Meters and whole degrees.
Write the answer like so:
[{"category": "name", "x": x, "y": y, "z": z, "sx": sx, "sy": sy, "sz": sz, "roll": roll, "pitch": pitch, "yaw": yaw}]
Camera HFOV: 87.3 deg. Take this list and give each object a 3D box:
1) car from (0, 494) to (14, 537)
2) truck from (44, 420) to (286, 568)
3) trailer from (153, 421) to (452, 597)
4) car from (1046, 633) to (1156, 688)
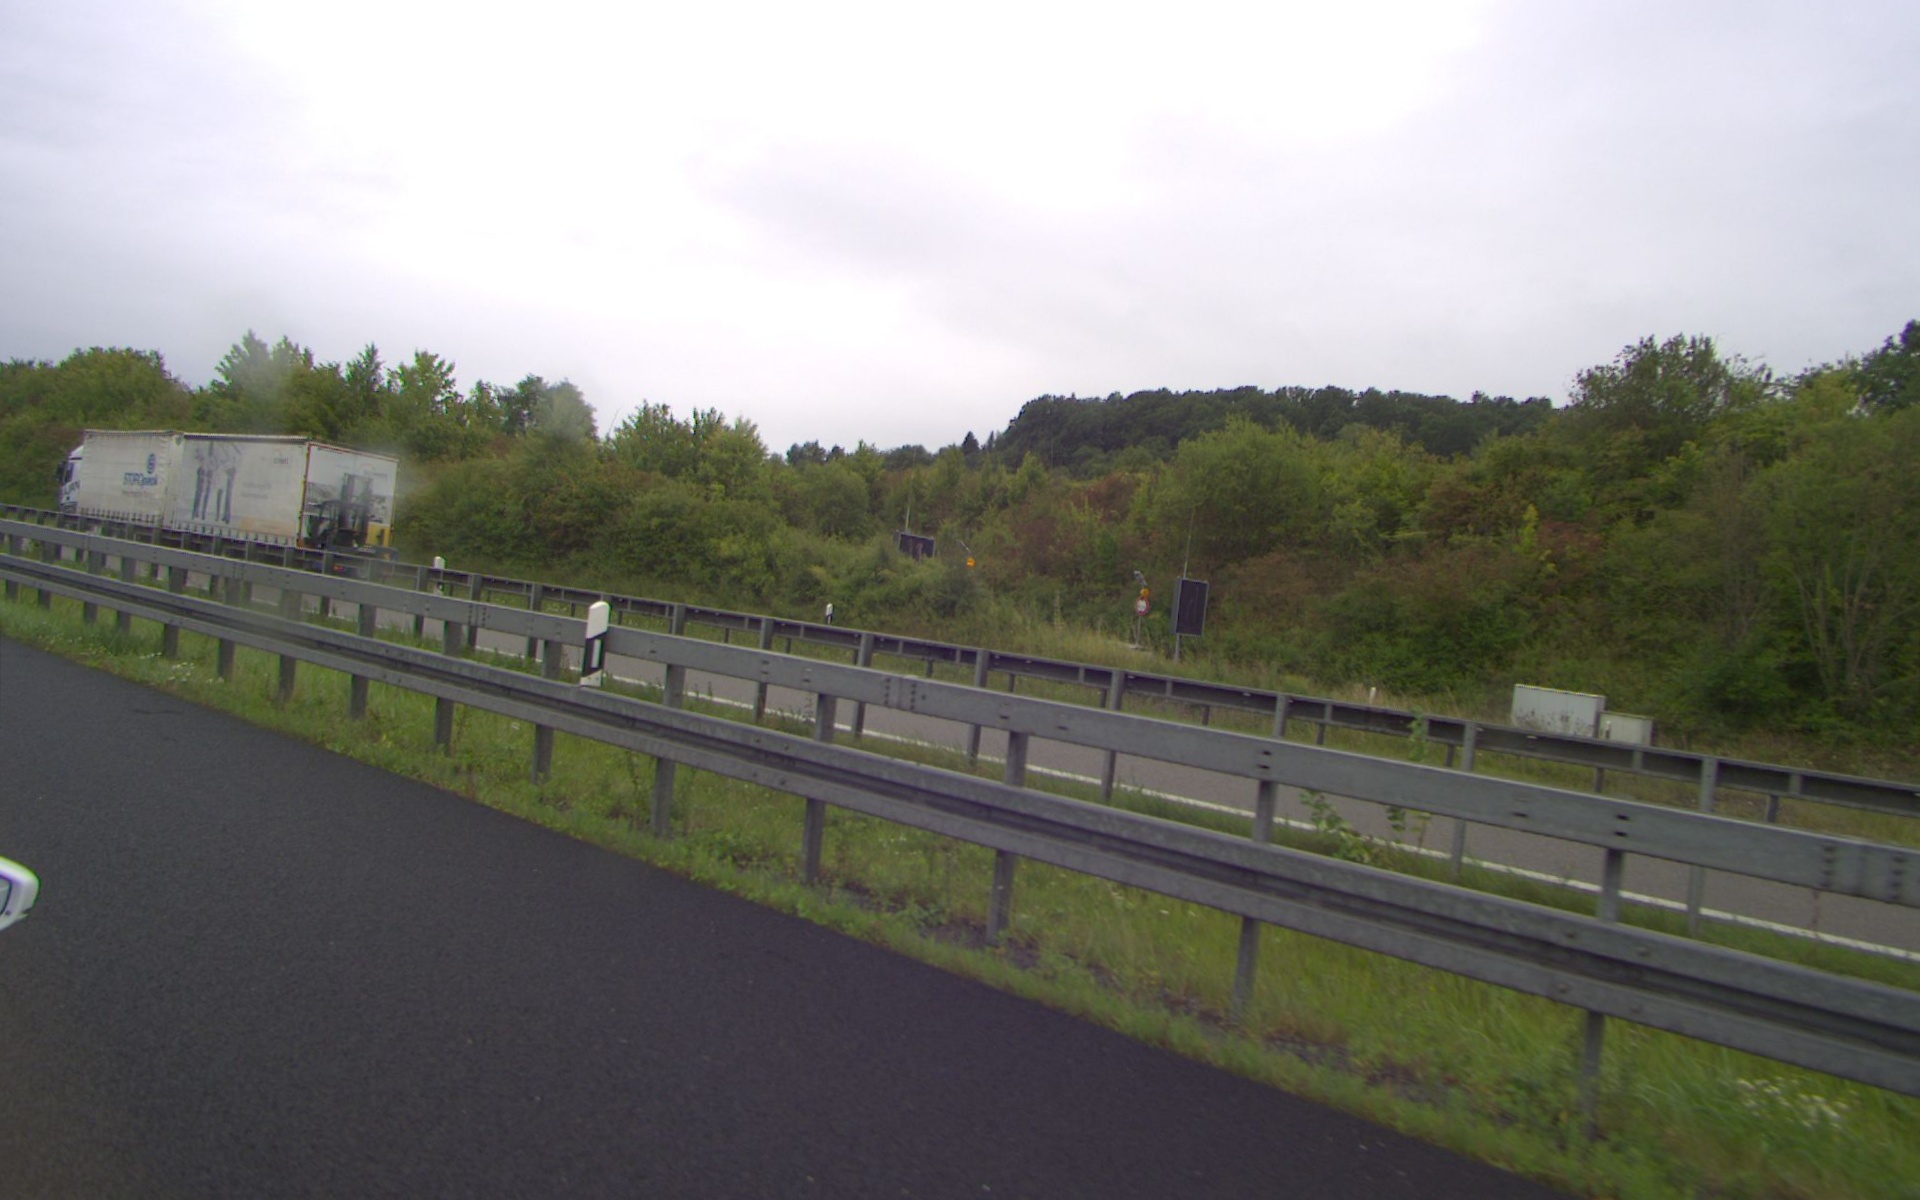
[{"category": "car", "x": -35.581, "y": -3.208, "z": 35.759, "sx": 4.090, "sy": 1.464, "sz": 1.862, "roll": 7, "pitch": -1, "yaw": 33}, {"category": "truck", "x": -28.847, "y": -3.917, "z": 36.313, "sx": 10.248, "sy": 4.341, "sz": 3.441, "roll": 7, "pitch": 0, "yaw": 33}, {"category": "trailer", "x": -20.263, "y": -2.901, "z": 30.701, "sx": 10.283, "sy": 4.341, "sz": 3.441, "roll": 7, "pitch": 0, "yaw": 33}, {"category": "car", "x": 5.520, "y": 2.362, "z": 39.991, "sx": 1.846, "sy": 1.633, "sz": 4.466, "roll": 7, "pitch": -1, "yaw": -29}]
